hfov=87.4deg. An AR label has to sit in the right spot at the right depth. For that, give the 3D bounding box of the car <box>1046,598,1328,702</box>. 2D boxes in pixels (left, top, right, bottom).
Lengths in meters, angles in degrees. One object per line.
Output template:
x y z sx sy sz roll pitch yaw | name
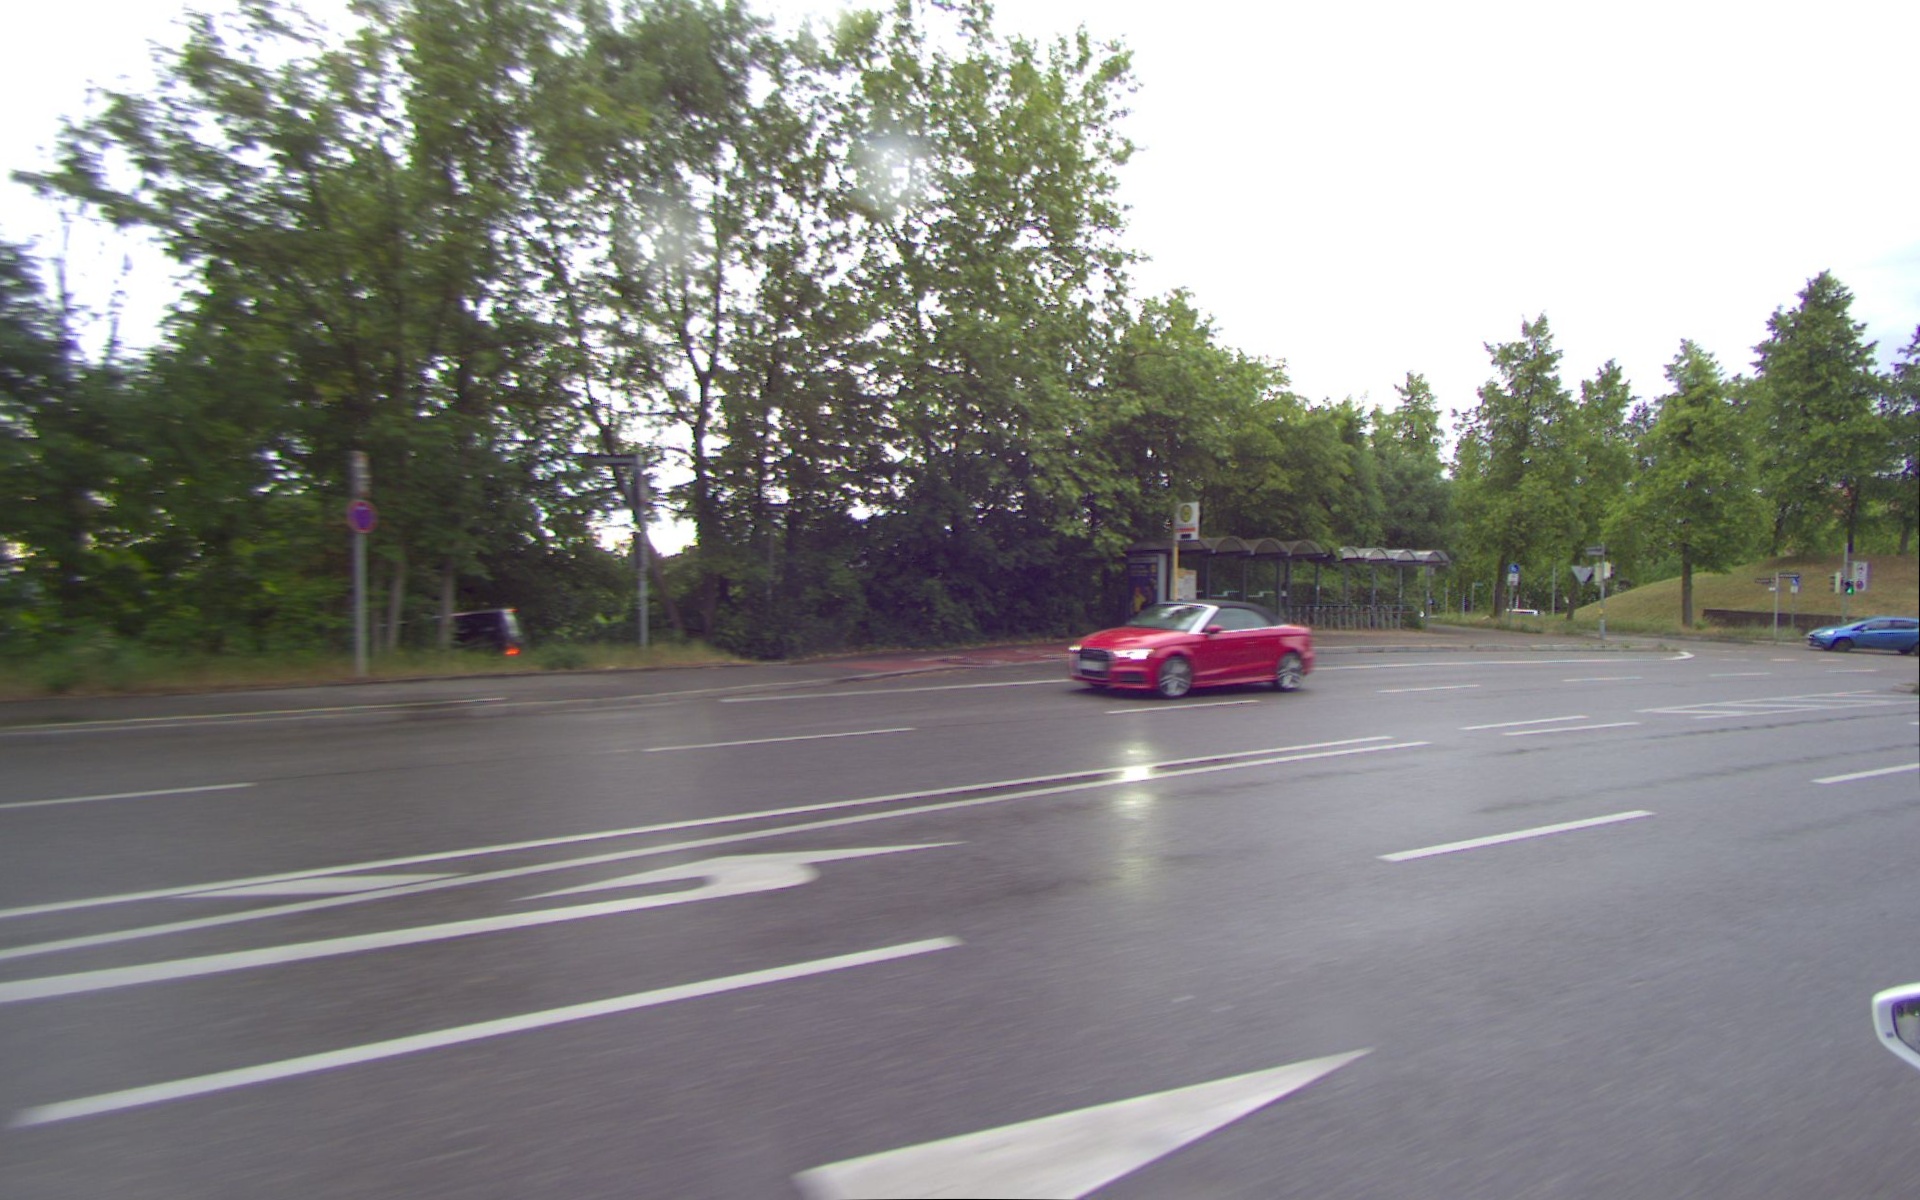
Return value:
3.618 0.691 15.715 4.339 1.392 1.863 0 1 -34 | car

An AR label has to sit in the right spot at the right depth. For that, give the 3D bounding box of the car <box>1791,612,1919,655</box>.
36.334 1.317 40.493 3.860 1.510 1.999 2 1 22 | car

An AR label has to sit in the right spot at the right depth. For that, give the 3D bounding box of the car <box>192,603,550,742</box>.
-10.452 1.236 18.282 5.068 1.972 2.105 -4 0 -11 | car
